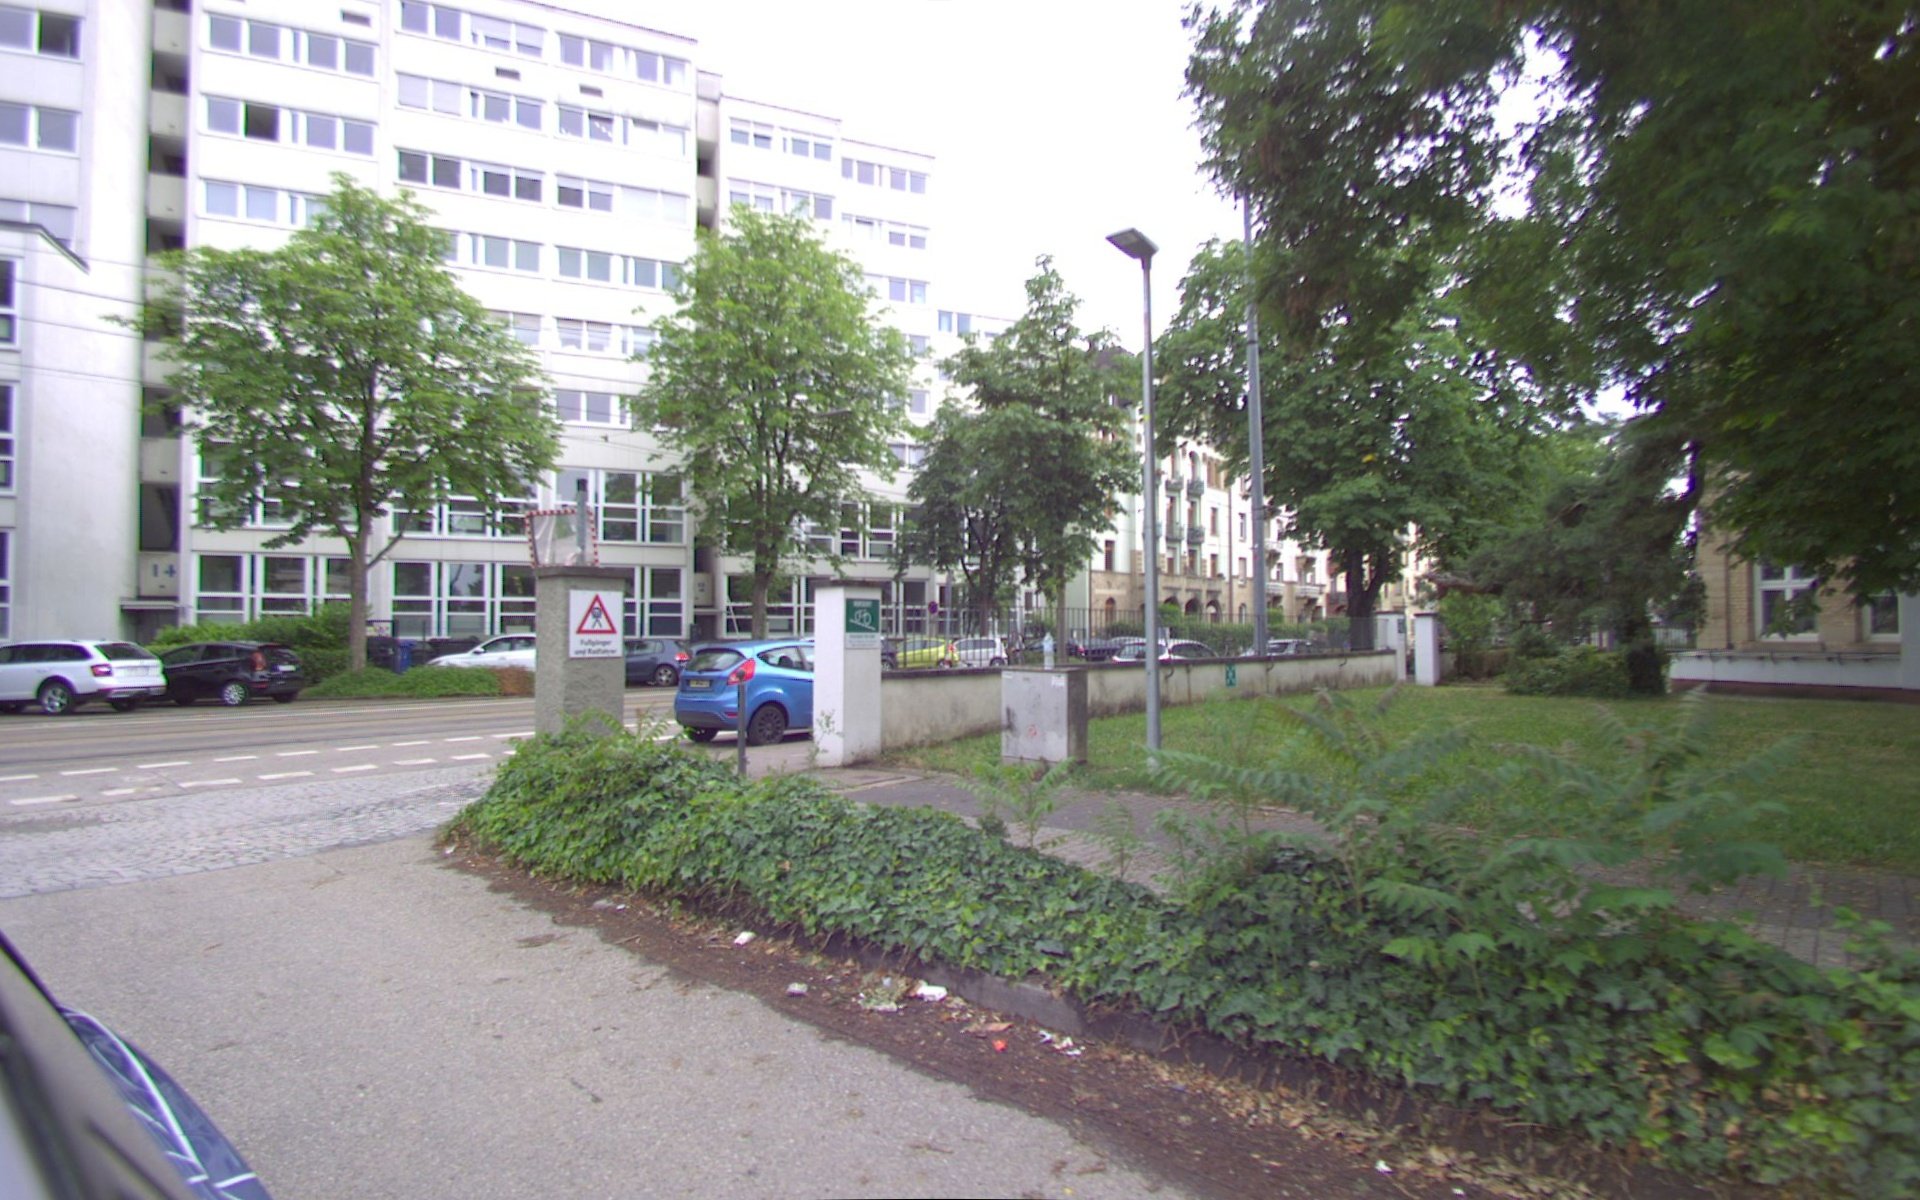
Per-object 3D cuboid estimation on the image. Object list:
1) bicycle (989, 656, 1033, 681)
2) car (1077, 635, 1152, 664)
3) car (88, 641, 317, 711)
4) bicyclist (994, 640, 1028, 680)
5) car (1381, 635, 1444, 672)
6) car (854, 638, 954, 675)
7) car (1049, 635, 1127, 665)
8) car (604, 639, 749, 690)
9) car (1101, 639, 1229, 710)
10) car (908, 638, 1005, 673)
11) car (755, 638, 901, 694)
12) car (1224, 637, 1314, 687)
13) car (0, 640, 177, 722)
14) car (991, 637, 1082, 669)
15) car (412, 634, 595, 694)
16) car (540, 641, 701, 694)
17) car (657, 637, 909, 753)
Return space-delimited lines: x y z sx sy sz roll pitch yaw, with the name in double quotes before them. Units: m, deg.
"bicycle" 1.980 2.633 38.970 0.470 0.875 2.109 -3 -3 41
"car" 8.114 2.571 53.129 3.687 1.396 1.690 0 -1 17
"car" -17.050 1.688 22.878 3.975 1.416 1.698 1 -1 3
"bicyclist" 1.956 2.306 38.995 0.846 1.512 1.013 -3 -3 41
"car" 17.598 2.057 39.319 1.511 1.312 3.138 -2 -2 37
"car" -2.256 2.231 40.409 3.908 1.362 1.701 1 -1 -4
"car" 6.412 2.461 50.627 3.687 1.396 1.690 0 -1 17
"car" -9.142 2.073 32.899 4.281 1.547 1.701 1 -1 -4
"car" 4.925 1.699 24.052 1.479 1.492 3.517 0 -1 40
"car" -0.179 2.334 42.574 3.908 1.362 1.701 1 -1 -4
"car" -3.707 1.824 28.828 1.746 1.440 3.944 -2 -3 42
"car" 9.039 1.770 29.501 1.511 1.312 3.138 -2 -2 37
"car" -18.547 1.607 20.601 3.975 1.495 1.698 1 -1 3
"car" 3.459 2.388 46.168 3.908 1.362 1.701 1 -1 -4
"car" -12.544 1.763 28.037 4.277 1.568 1.703 1 -1 -8
"car" -10.111 2.009 30.360 4.281 1.465 1.701 1 -1 -4
"car" -2.528 1.315 14.942 1.678 1.472 3.386 -4 -4 40
